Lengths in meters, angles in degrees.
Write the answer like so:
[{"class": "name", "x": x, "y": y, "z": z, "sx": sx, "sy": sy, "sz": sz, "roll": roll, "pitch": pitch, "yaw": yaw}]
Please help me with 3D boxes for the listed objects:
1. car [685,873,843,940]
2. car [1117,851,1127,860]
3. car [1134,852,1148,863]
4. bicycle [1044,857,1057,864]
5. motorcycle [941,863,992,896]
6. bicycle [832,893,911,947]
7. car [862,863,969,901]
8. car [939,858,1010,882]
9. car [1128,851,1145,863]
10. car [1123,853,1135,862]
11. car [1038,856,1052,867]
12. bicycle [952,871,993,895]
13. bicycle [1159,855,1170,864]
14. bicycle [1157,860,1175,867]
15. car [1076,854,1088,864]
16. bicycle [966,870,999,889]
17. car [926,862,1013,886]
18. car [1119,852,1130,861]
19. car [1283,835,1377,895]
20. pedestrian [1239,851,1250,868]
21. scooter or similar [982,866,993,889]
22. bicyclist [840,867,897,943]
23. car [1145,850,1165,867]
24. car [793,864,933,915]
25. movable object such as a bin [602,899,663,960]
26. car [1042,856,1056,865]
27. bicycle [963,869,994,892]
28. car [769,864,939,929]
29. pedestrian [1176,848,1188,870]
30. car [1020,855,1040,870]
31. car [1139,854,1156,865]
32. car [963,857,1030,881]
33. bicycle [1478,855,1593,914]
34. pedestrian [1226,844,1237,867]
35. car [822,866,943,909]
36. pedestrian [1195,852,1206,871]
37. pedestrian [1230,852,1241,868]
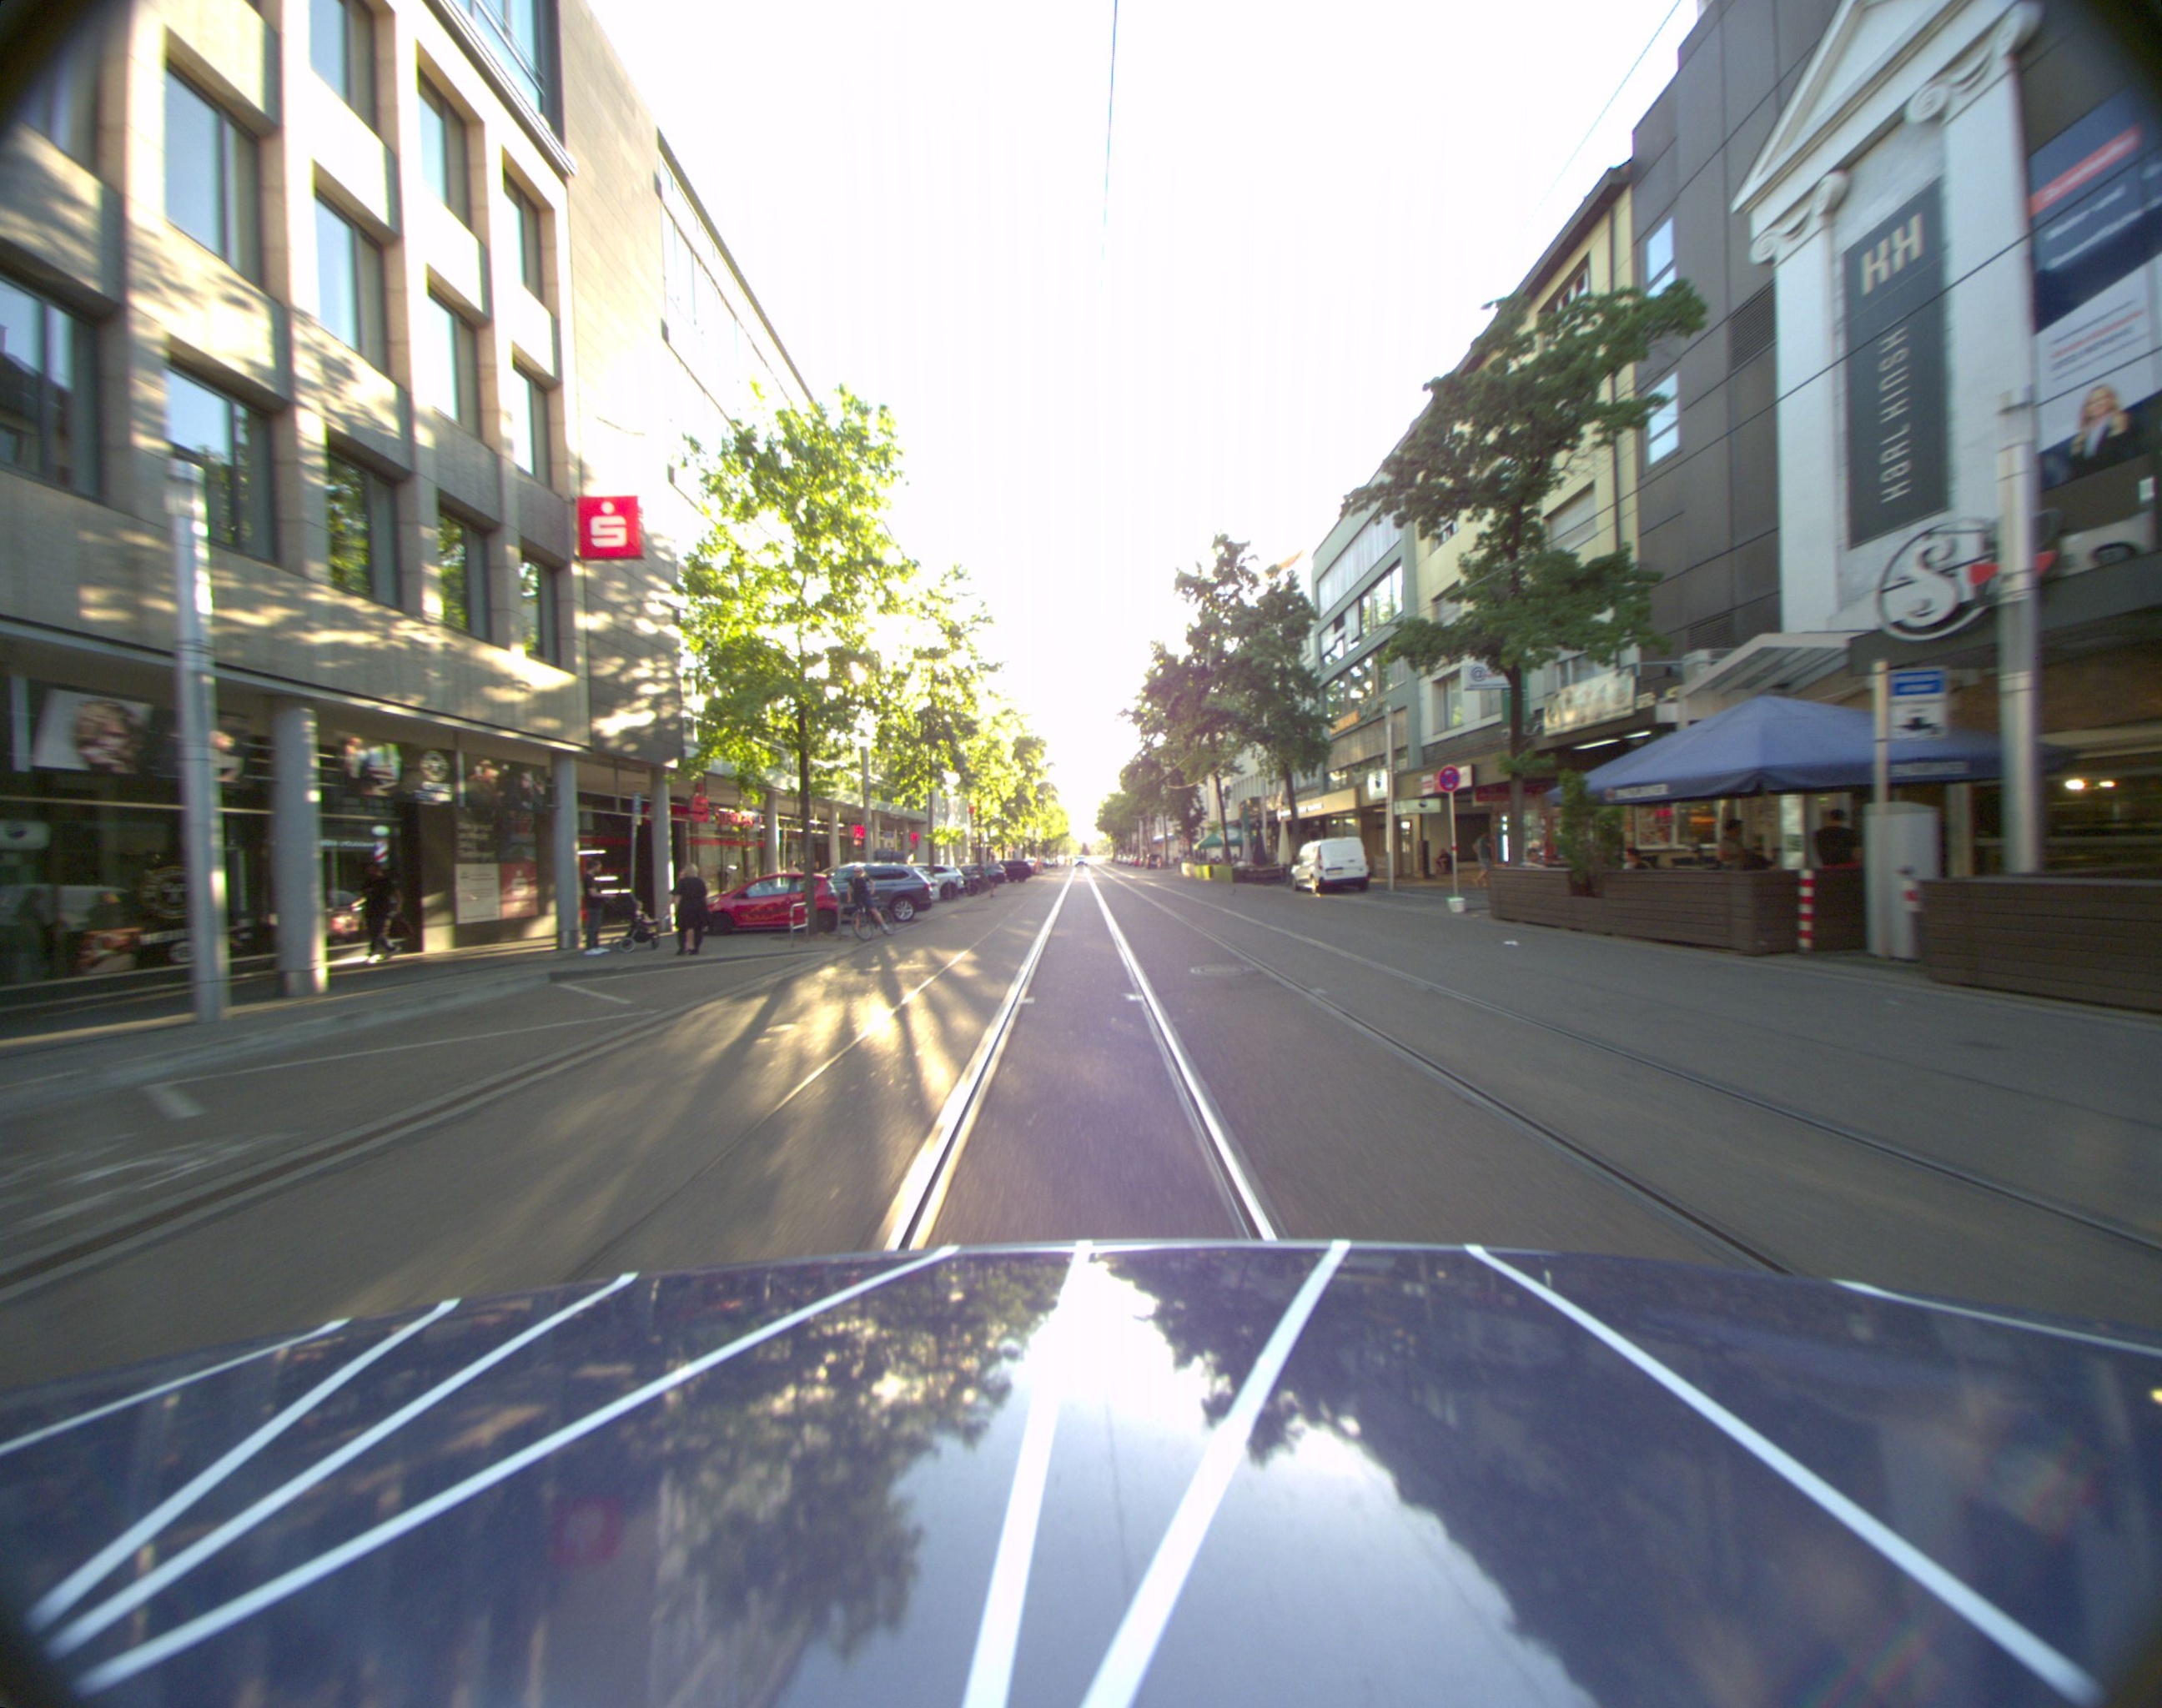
[{"class": "car", "x": -7.630, "y": 1.216, "z": 18.564, "sx": 3.402, "sy": 1.472, "sz": 1.664, "roll": 0, "pitch": 0, "yaw": -19}, {"class": "car", "x": 9.282, "y": 0.403, "z": 173.926, "sx": 1.932, "sy": 1.946, "sz": 4.765, "roll": -1, "pitch": 0, "yaw": 0}, {"class": "car", "x": 8.852, "y": 0.468, "z": 111.675, "sx": 1.664, "sy": 1.397, "sz": 4.141, "roll": -5, "pitch": 0, "yaw": 1}, {"class": "bicycle", "x": -5.501, "y": 1.242, "z": 136.885, "sx": 2.325, "sy": 1.181, "sz": 0.751, "roll": -2, "pitch": 0, "yaw": 1}, {"class": "motorcycle", "x": -5.467, "y": 1.218, "z": 36.392, "sx": 2.324, "sy": 1.501, "sz": 0.856, "roll": 0, "pitch": 1, "yaw": -43}, {"class": "bicycle", "x": -4.679, "y": 1.461, "z": 17.130, "sx": 0.719, "sy": 0.989, "sz": 2.061, "roll": -4, "pitch": 0, "yaw": 14}, {"class": "car", "x": -7.193, "y": 1.170, "z": 33.153, "sx": 4.167, "sy": 1.562, "sz": 1.849, "roll": 0, "pitch": 0, "yaw": -33}, {"class": "car", "x": -7.591, "y": 1.119, "z": 54.359, "sx": 4.673, "sy": 1.645, "sz": 2.004, "roll": 0, "pitch": 0, "yaw": -24}, {"class": "car", "x": 8.792, "y": 0.487, "z": 121.127, "sx": 1.870, "sy": 1.679, "sz": 4.950, "roll": -5, "pitch": 0, "yaw": -3}, {"class": "car", "x": 8.865, "y": 0.575, "z": 139.691, "sx": 1.897, "sy": 1.458, "sz": 4.616, "roll": -5, "pitch": 0, "yaw": 1}, {"class": "car", "x": -5.763, "y": 1.235, "z": 122.476, "sx": 1.985, "sy": 1.678, "sz": 4.873, "roll": 1, "pitch": 0, "yaw": 0}, {"class": "bicycle", "x": -5.379, "y": 1.432, "z": 37.837, "sx": 1.899, "sy": 1.113, "sz": 0.666, "roll": 0, "pitch": 1, "yaw": -29}, {"class": "bicycle", "x": 10.576, "y": 0.711, "z": 95.922, "sx": 0.760, "sy": 1.115, "sz": 2.045, "roll": -5, "pitch": 0, "yaw": -11}, {"class": "bicycle", "x": 9.062, "y": 1.026, "z": 80.669, "sx": 1.799, "sy": 0.605, "sz": 1.282, "roll": -3, "pitch": 0, "yaw": 3}, {"class": "car", "x": 0.194, "y": 0.837, "z": 124.601, "sx": 1.827, "sy": 1.603, "sz": 3.796, "roll": -2, "pitch": 0, "yaw": 1}, {"class": "bicycle", "x": -5.478, "y": 1.416, "z": 42.246, "sx": 1.566, "sy": 1.082, "sz": 0.867, "roll": 1, "pitch": -1, "yaw": -30}, {"class": "car", "x": -6.968, "y": 1.231, "z": 47.863, "sx": 5.071, "sy": 1.460, "sz": 1.972, "roll": 1, "pitch": 0, "yaw": -36}, {"class": "car", "x": 9.070, "y": 0.475, "z": 159.052, "sx": 1.952, "sy": 1.731, "sz": 4.765, "roll": -5, "pitch": 0, "yaw": 0}, {"class": "car", "x": 8.774, "y": 0.362, "z": 27.212, "sx": 1.800, "sy": 1.853, "sz": 4.553, "roll": -5, "pitch": 0, "yaw": 1}, {"class": "pedestrian", "x": 12.938, "y": 0.428, "z": 60.277, "sx": 0.646, "sy": 1.262, "sz": 0.738, "roll": -4, "pitch": 0, "yaw": 1}, {"class": "scooter or similar", "x": -5.370, "y": 1.333, "z": 43.791, "sx": 0.452, "sy": 1.269, "sz": 1.306, "roll": 2, "pitch": 0, "yaw": -1}, {"class": "bicyclist", "x": -4.791, "y": 1.135, "z": 17.142, "sx": 0.778, "sy": 1.603, "sz": 0.913, "roll": -4, "pitch": 0, "yaw": 14}, {"class": "car", "x": 8.655, "y": 0.500, "z": 89.205, "sx": 1.862, "sy": 1.821, "sz": 4.559, "roll": -3, "pitch": 0, "yaw": 2}, {"class": "car", "x": -7.436, "y": 1.161, "z": 26.003, "sx": 4.256, "sy": 1.578, "sz": 1.880, "roll": 0, "pitch": 0, "yaw": -31}, {"class": "movable object such as a bin", "x": -8.561, "y": 1.414, "z": 14.506, "sx": 0.687, "sy": 1.057, "sz": 0.835, "roll": 1, "pitch": 0, "yaw": 42}, {"class": "car", "x": -5.491, "y": 1.104, "z": 130.374, "sx": 1.871, "sy": 1.502, "sz": 4.241, "roll": 0, "pitch": 0, "yaw": -8}, {"class": "bicycle", "x": -5.387, "y": 1.393, "z": 40.058, "sx": 0.480, "sy": 1.156, "sz": 1.698, "roll": 2, "pitch": 1, "yaw": 40}, {"class": "car", "x": -6.412, "y": 1.138, "z": 21.652, "sx": 4.364, "sy": 1.642, "sz": 1.690, "roll": 0, "pitch": 0, "yaw": -31}, {"class": "pedestrian", "x": 8.417, "y": 0.405, "z": 63.334, "sx": 0.758, "sy": 1.781, "sz": 0.687, "roll": -4, "pitch": 1, "yaw": 3}, {"class": "car", "x": -5.828, "y": 0.960, "z": 87.471, "sx": 2.028, "sy": 1.727, "sz": 4.906, "roll": 1, "pitch": 0, "yaw": -1}, {"class": "car", "x": 8.967, "y": 0.698, "z": 102.685, "sx": 1.722, "sy": 1.238, "sz": 4.507, "roll": -5, "pitch": 0, "yaw": 0}, {"class": "car", "x": -6.427, "y": 1.089, "z": 57.745, "sx": 4.674, "sy": 1.753, "sz": 1.990, "roll": 0, "pitch": 0, "yaw": -29}, {"class": "bicycle", "x": 9.601, "y": 0.642, "z": 16.169, "sx": 0.700, "sy": 1.114, "sz": 2.084, "roll": -5, "pitch": 0, "yaw": -17}, {"class": "pedestrian", "x": 12.354, "y": 0.134, "z": 62.261, "sx": 0.685, "sy": 1.805, "sz": 0.765, "roll": -4, "pitch": 1, "yaw": 15}, {"class": "car", "x": -7.456, "y": 1.213, "z": 28.549, "sx": 4.165, "sy": 1.490, "sz": 1.685, "roll": 0, "pitch": 0, "yaw": -23}, {"class": "pedestrian", "x": 9.151, "y": 0.588, "z": 58.288, "sx": 0.691, "sy": 1.378, "sz": 0.807, "roll": -4, "pitch": 0, "yaw": 1}, {"class": "pedestrian", "x": 12.276, "y": 0.471, "z": 60.356, "sx": 0.628, "sy": 1.274, "sz": 0.727, "roll": -4, "pitch": 0, "yaw": 1}]
